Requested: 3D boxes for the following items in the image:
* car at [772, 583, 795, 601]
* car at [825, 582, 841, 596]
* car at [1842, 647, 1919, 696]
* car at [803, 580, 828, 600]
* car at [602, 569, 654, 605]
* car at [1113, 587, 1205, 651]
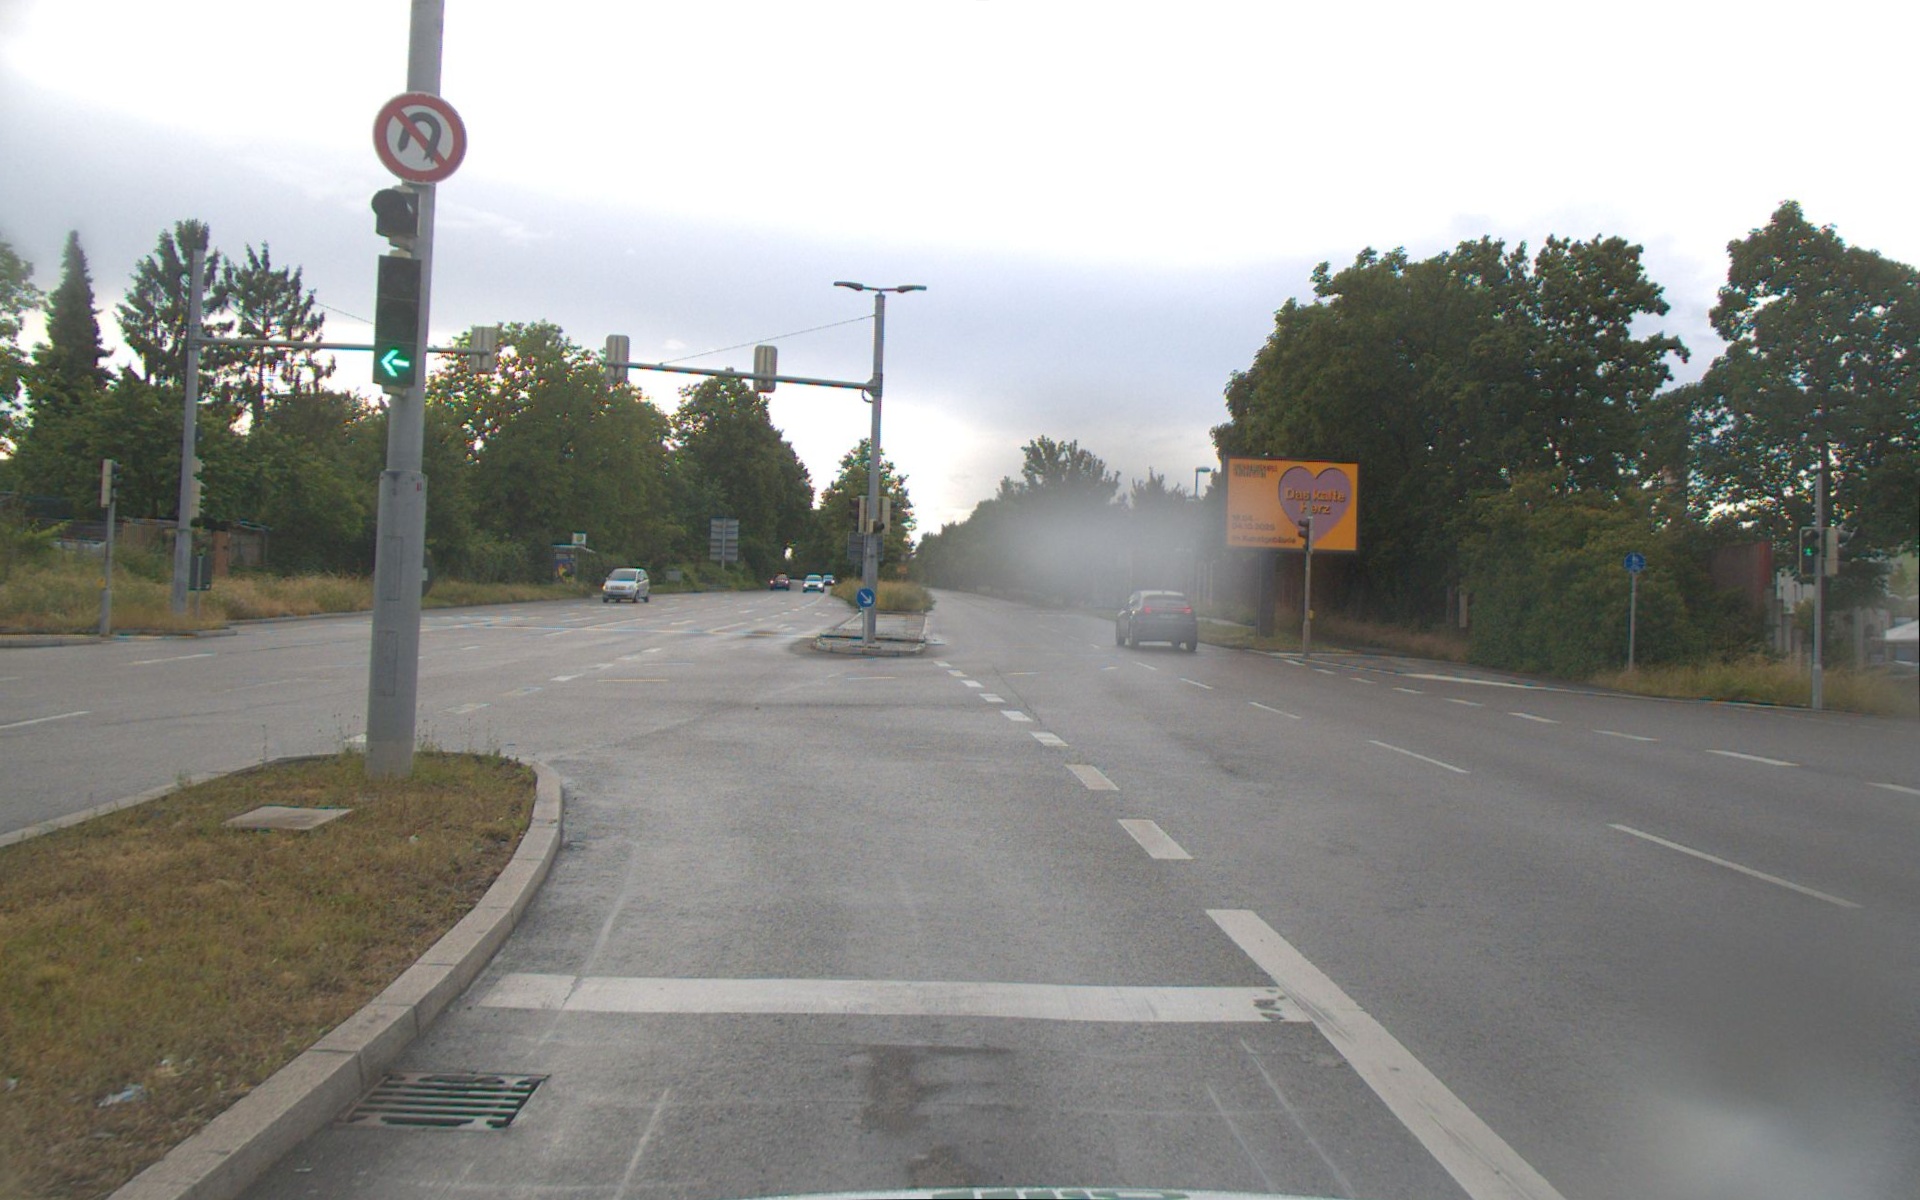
[{"bbox_3d":[-16.844,-0.764,157.794,1.856,1.624,4.487,3,0,-2],"label":"car"},{"bbox_3d":[-16.667,-1.431,217.220,1.856,1.624,4.487,3,0,-2],"label":"car"},{"bbox_3d":[32.619,2.487,57.309,1.741,1.614,4.140,4,-2,-2],"label":"car"},{"bbox_3d":[-12.439,-0.864,142.303,1.856,1.561,4.487,3,0,-2],"label":"car"},{"bbox_3d":[-16.177,-0.621,80.699,1.733,1.624,4.487,3,0,-2],"label":"car"},{"bbox_3d":[5.127,0.467,43.042,1.710,1.495,4.164,3,0,-2],"label":"car"}]
